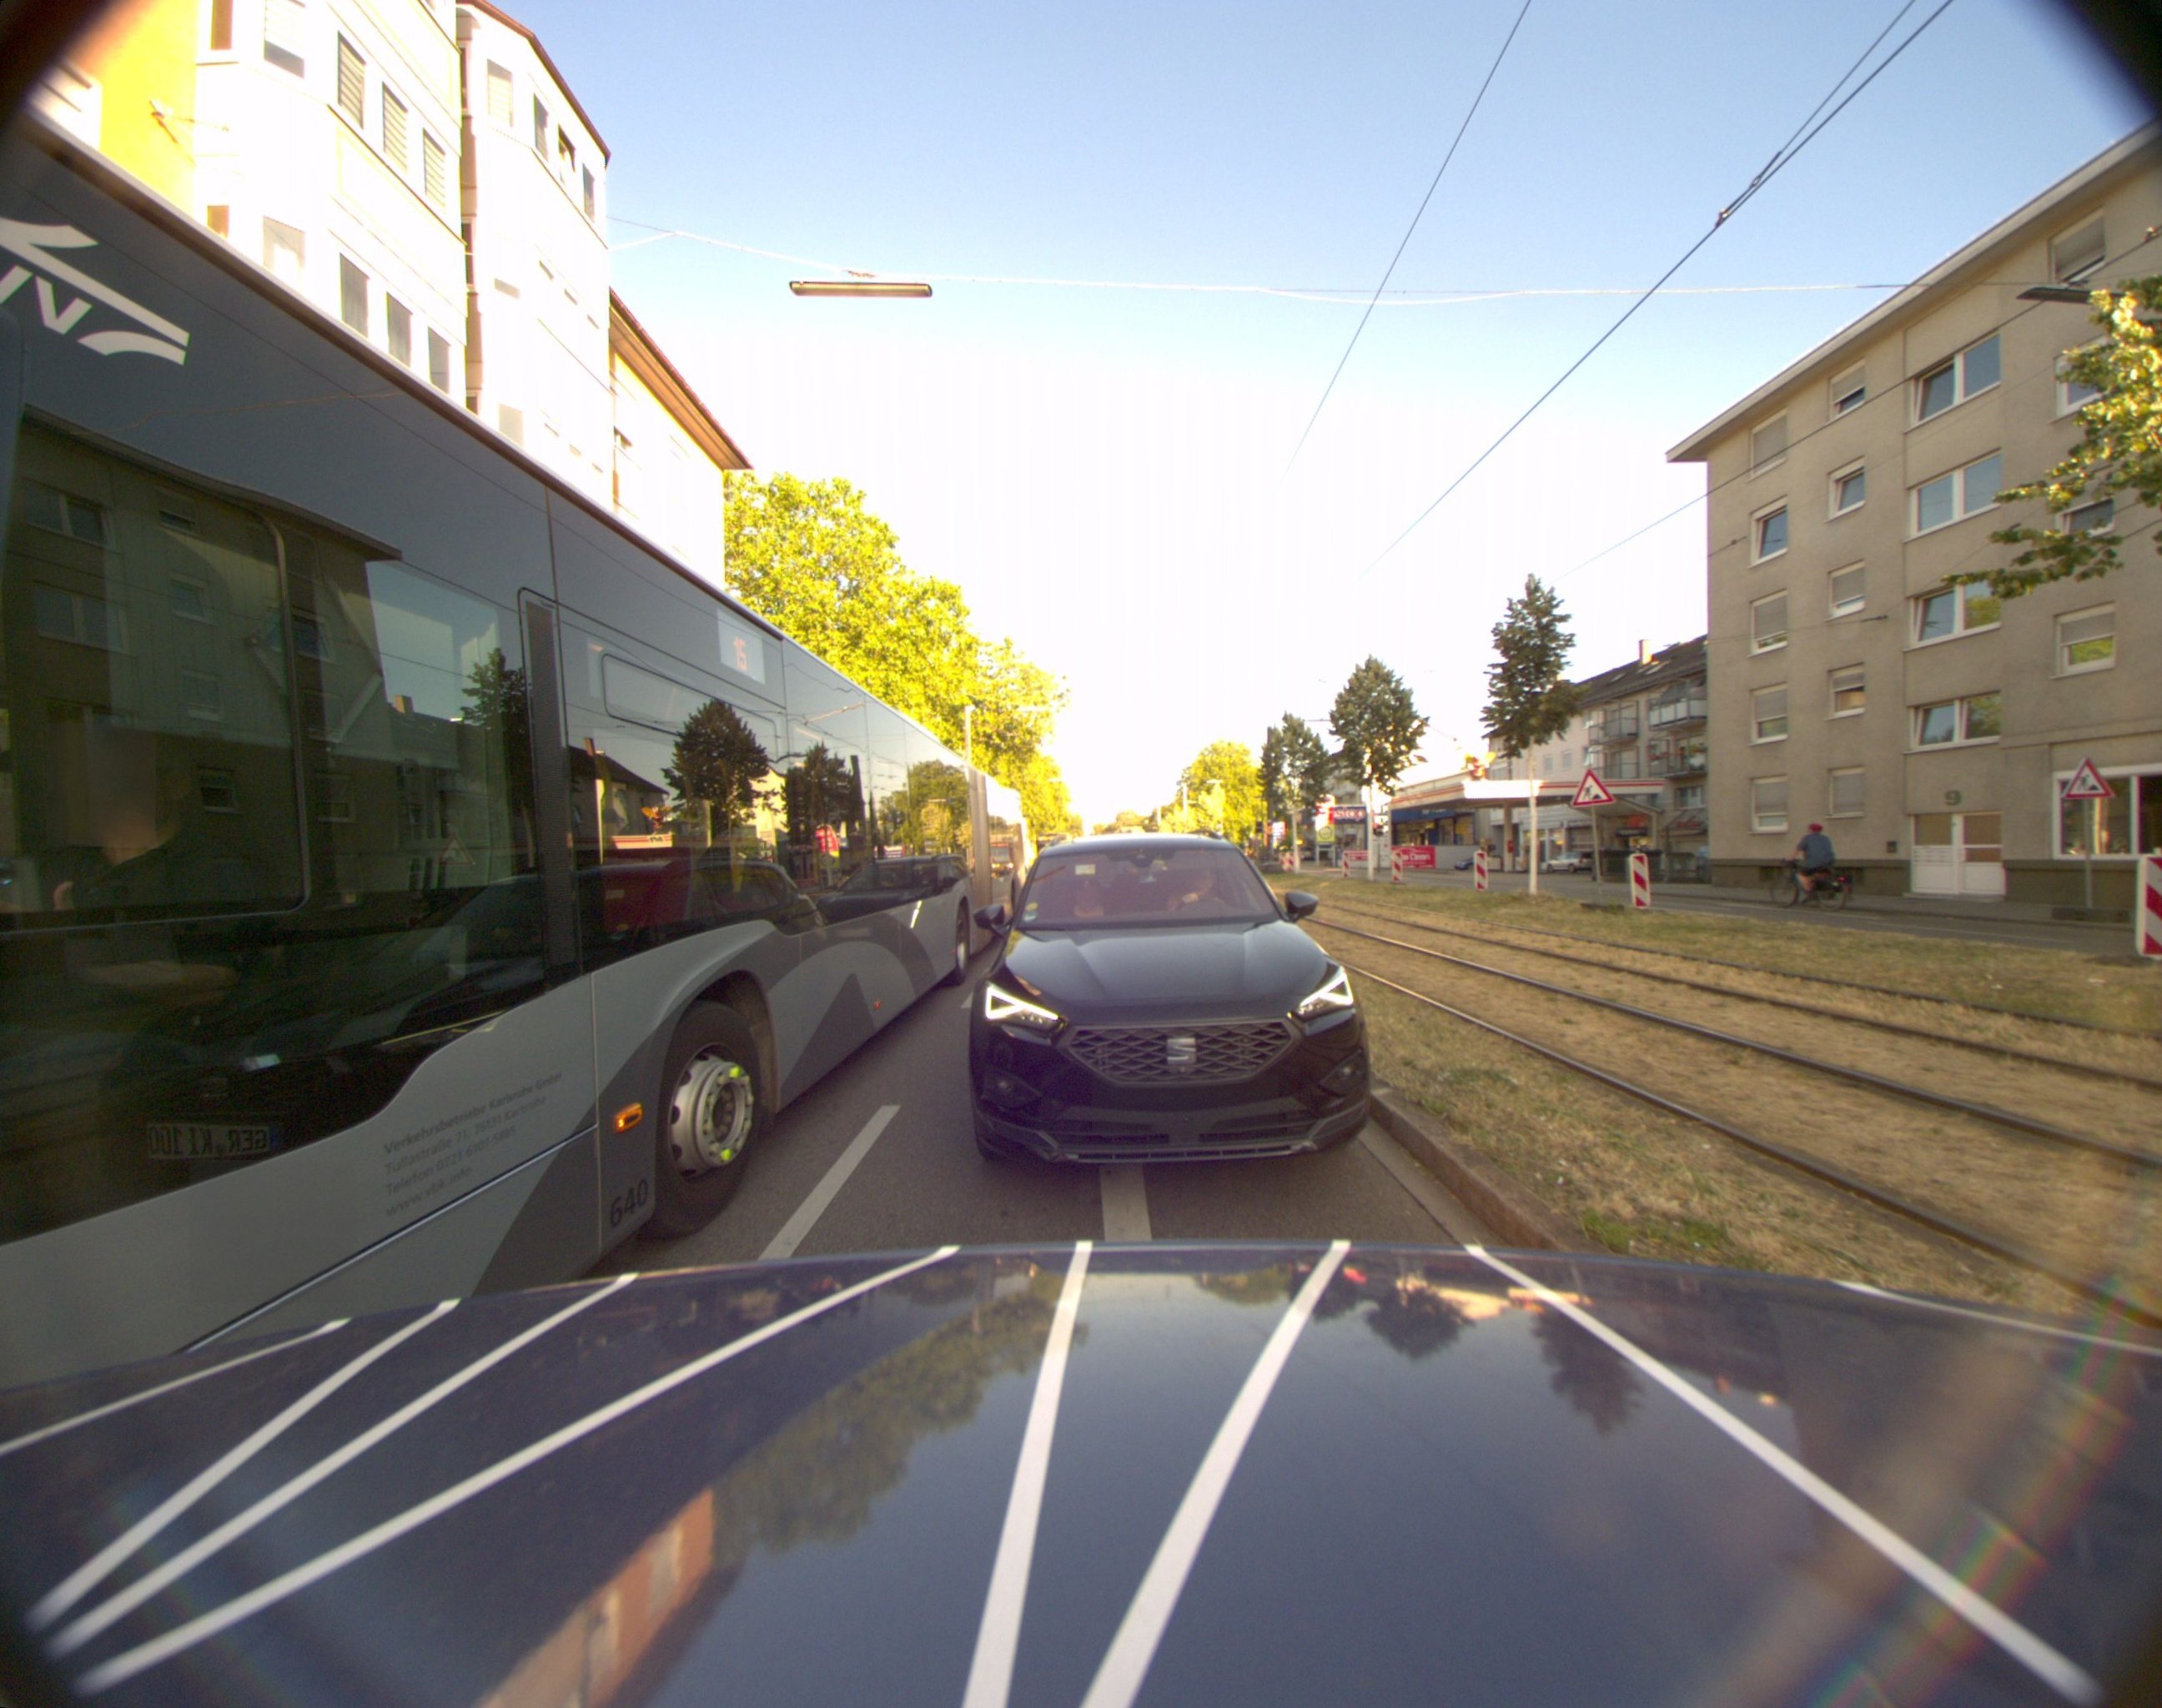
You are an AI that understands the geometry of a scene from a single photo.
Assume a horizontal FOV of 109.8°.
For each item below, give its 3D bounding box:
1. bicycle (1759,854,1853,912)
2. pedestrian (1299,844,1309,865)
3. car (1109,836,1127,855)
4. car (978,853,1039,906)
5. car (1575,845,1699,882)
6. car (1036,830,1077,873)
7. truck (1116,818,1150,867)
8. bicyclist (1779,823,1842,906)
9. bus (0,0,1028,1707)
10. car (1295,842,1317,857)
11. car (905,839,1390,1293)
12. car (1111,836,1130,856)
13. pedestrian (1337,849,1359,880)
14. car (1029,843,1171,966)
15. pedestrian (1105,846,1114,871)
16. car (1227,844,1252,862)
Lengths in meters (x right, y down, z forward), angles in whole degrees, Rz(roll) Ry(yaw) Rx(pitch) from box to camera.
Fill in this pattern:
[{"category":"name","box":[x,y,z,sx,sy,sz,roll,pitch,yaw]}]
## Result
[{"category":"bicycle","box":[16.769,0.644,17.630,0.456,1.250,1.871,-1,0,3]},{"category":"pedestrian","box":[20.647,0.045,70.416,0.632,2.002,0.583,-3,1,2]},{"category":"car","box":[4.072,-0.929,83.626,1.767,2.002,3.791,-2,1,1]},{"category":"car","box":[-2.464,0.814,26.589,1.750,1.598,3.823,-2,1,-1]},{"category":"car","box":[22.771,0.393,31.222,3.727,1.460,1.908,0,-1,0]},{"category":"car","box":[-1.726,-0.209,55.783,2.681,2.875,5.451,-2,1,0]},{"category":"truck","box":[4.307,-0.960,64.593,2.306,3.798,7.722,-2,1,1]},{"category":"bicyclist","box":[16.771,0.232,17.490,0.652,1.872,0.809,0,1,3]},{"category":"bus","box":[-2.774,0.176,9.121,2.773,3.132,17.739,-2,1,1]},{"category":"car","box":[25.087,-0.544,84.890,1.781,1.547,4.002,-2,1,9]},{"category":"car","box":[0.278,0.791,4.862,1.774,1.667,4.000,-2,1,1]},{"category":"car","box":[4.053,-0.851,78.593,1.767,2.002,3.791,-2,1,1]},{"category":"pedestrian","box":[10.976,0.426,31.291,0.664,1.263,0.581,-2,0,1]},{"category":"car","box":[0.293,0.706,12.775,1.998,1.740,4.000,0,1,0]},{"category":"pedestrian","box":[2.291,0.358,61.761,0.625,2.002,0.695,-2,1,0]},{"category":"car","box":[16.464,-0.098,78.944,1.998,1.725,4.394,-2,1,5]}]
